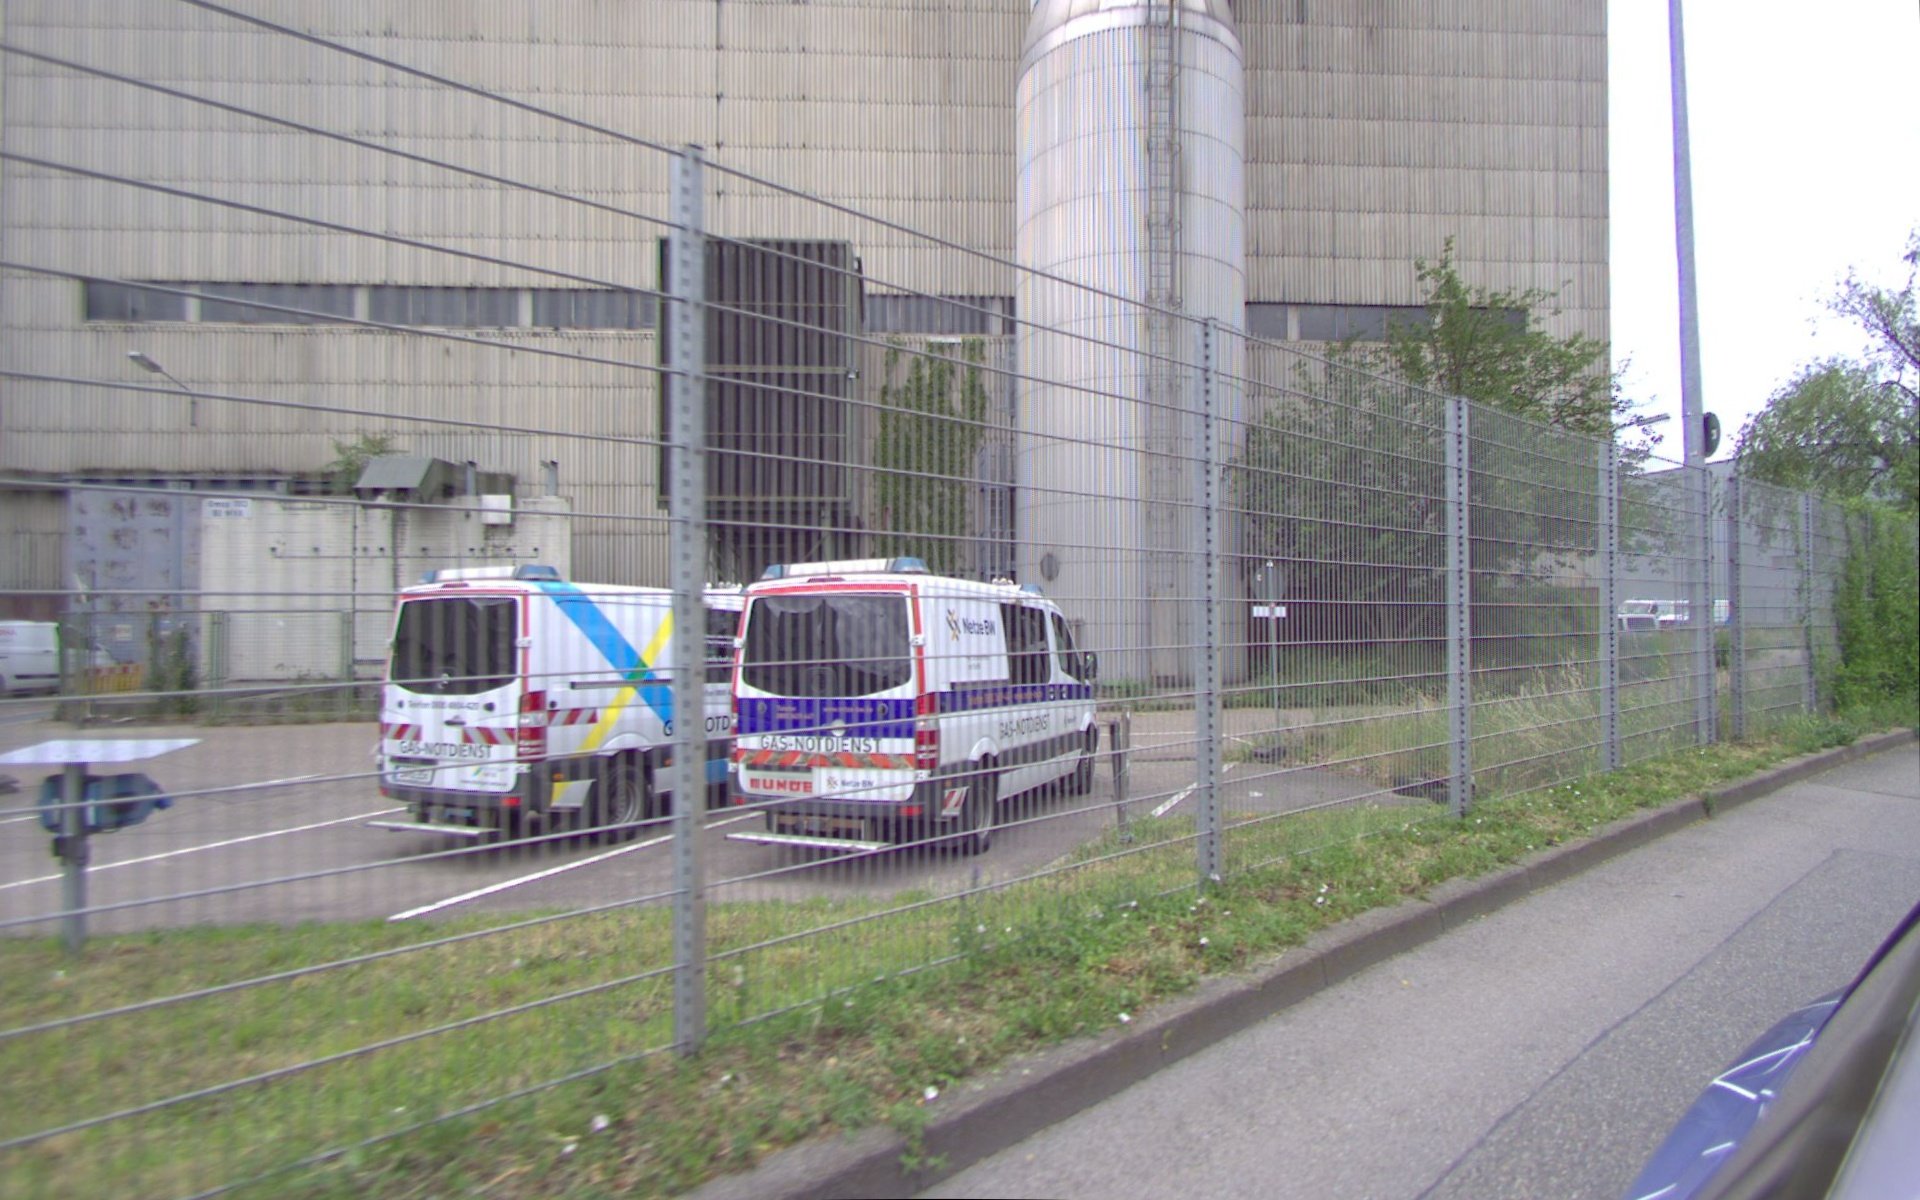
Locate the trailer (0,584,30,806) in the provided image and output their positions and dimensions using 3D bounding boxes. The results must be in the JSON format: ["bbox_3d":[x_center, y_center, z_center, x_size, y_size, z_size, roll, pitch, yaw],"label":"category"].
[{"bbox_3d":[-13.651,1.117,9.788,2.638,2.576,6.373,-2,-1,26],"label":"trailer"}]

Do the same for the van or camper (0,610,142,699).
[{"bbox_3d":[-25.138,1.403,26.841,2.316,2.169,5.326,-1,0,6],"label":"van or camper"}]

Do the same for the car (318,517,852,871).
[{"bbox_3d":[-3.538,0.870,11.022,2.400,2.799,5.409,-2,-3,23],"label":"car"}]

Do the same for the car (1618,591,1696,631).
[{"bbox_3d":[44.076,0.681,63.954,5.726,2.398,2.000,0,-1,-33],"label":"car"}]

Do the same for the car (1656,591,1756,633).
[{"bbox_3d":[45.001,0.703,61.039,5.716,2.398,2.003,-1,-1,-20],"label":"car"}]

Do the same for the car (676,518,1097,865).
[{"bbox_3d":[-0.360,0.801,10.387,2.213,2.581,5.148,-2,-3,23],"label":"car"}]
